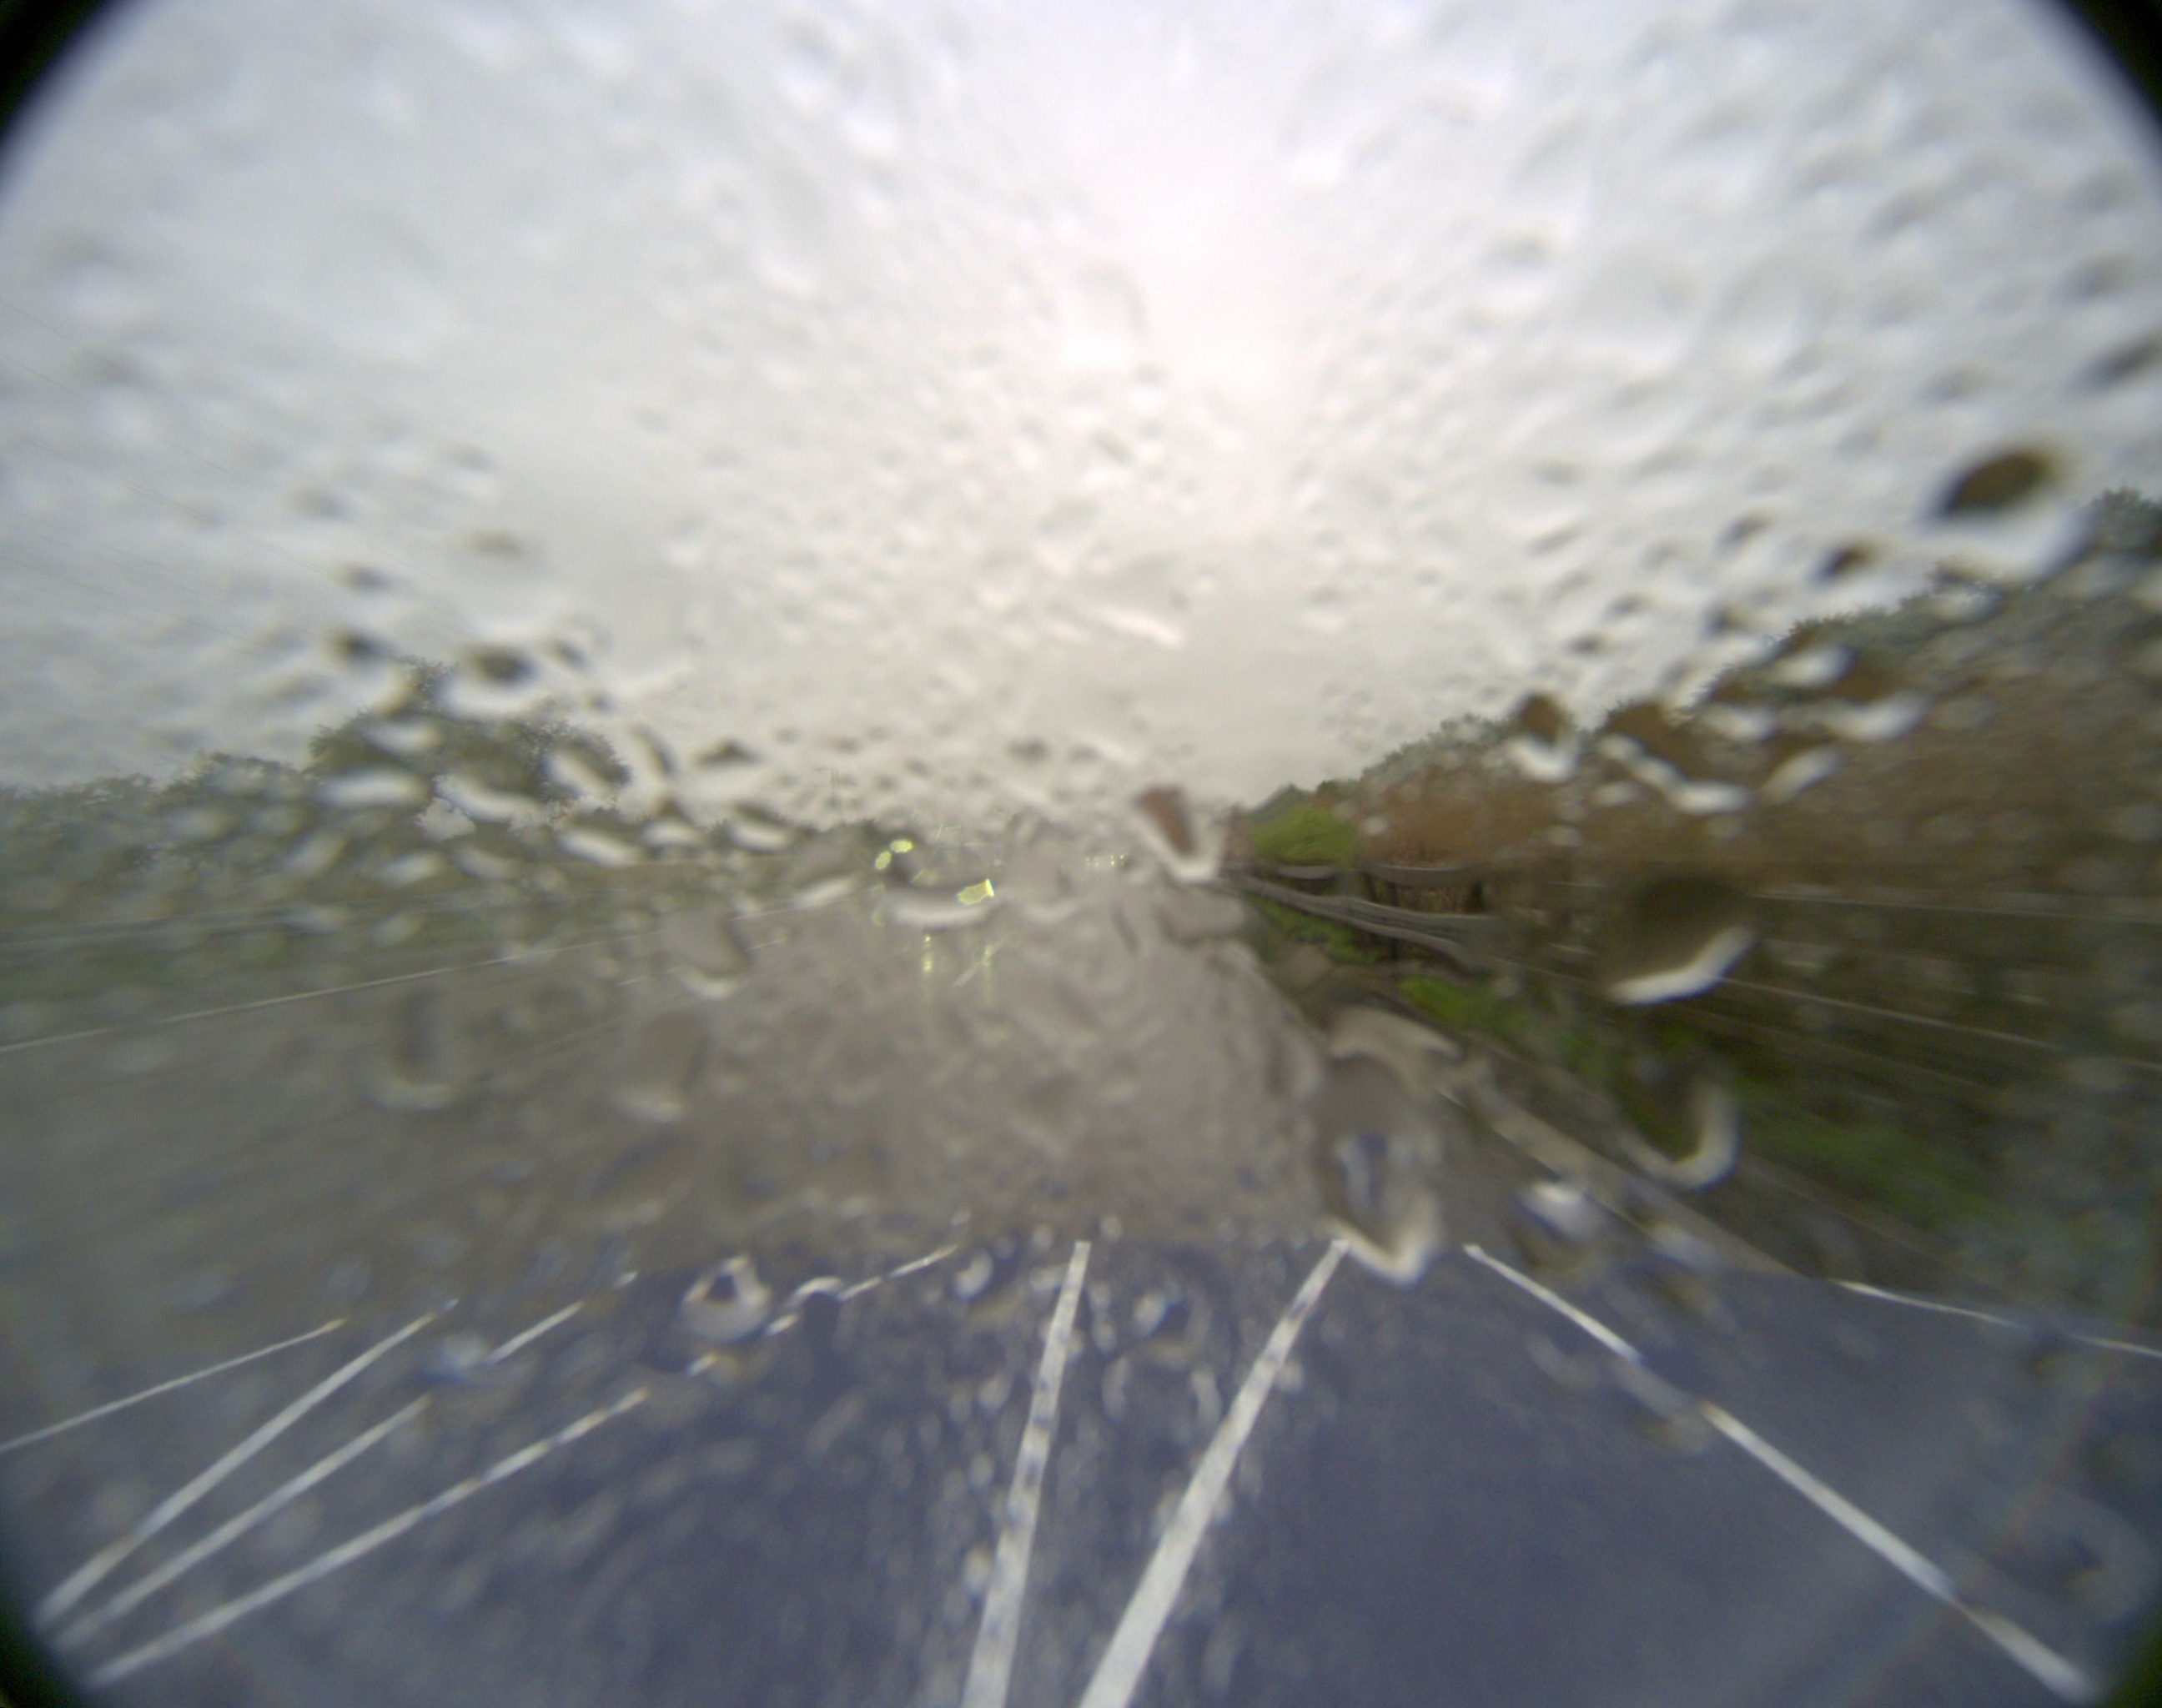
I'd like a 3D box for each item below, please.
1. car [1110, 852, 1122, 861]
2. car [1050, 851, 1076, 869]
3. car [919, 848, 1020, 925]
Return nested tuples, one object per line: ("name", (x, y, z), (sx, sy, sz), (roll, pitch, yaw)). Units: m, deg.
("car", (6.027, 0.410, 131.171), (1.769, 1.448, 3.960), (-5, 0, 5))
("car", (-1.598, 0.552, 69.011), (1.769, 1.448, 3.960), (-5, 0, 5))
("car", (-3.122, 0.845, 22.371), (1.892, 1.873, 5.009), (-5, 0, 2))
